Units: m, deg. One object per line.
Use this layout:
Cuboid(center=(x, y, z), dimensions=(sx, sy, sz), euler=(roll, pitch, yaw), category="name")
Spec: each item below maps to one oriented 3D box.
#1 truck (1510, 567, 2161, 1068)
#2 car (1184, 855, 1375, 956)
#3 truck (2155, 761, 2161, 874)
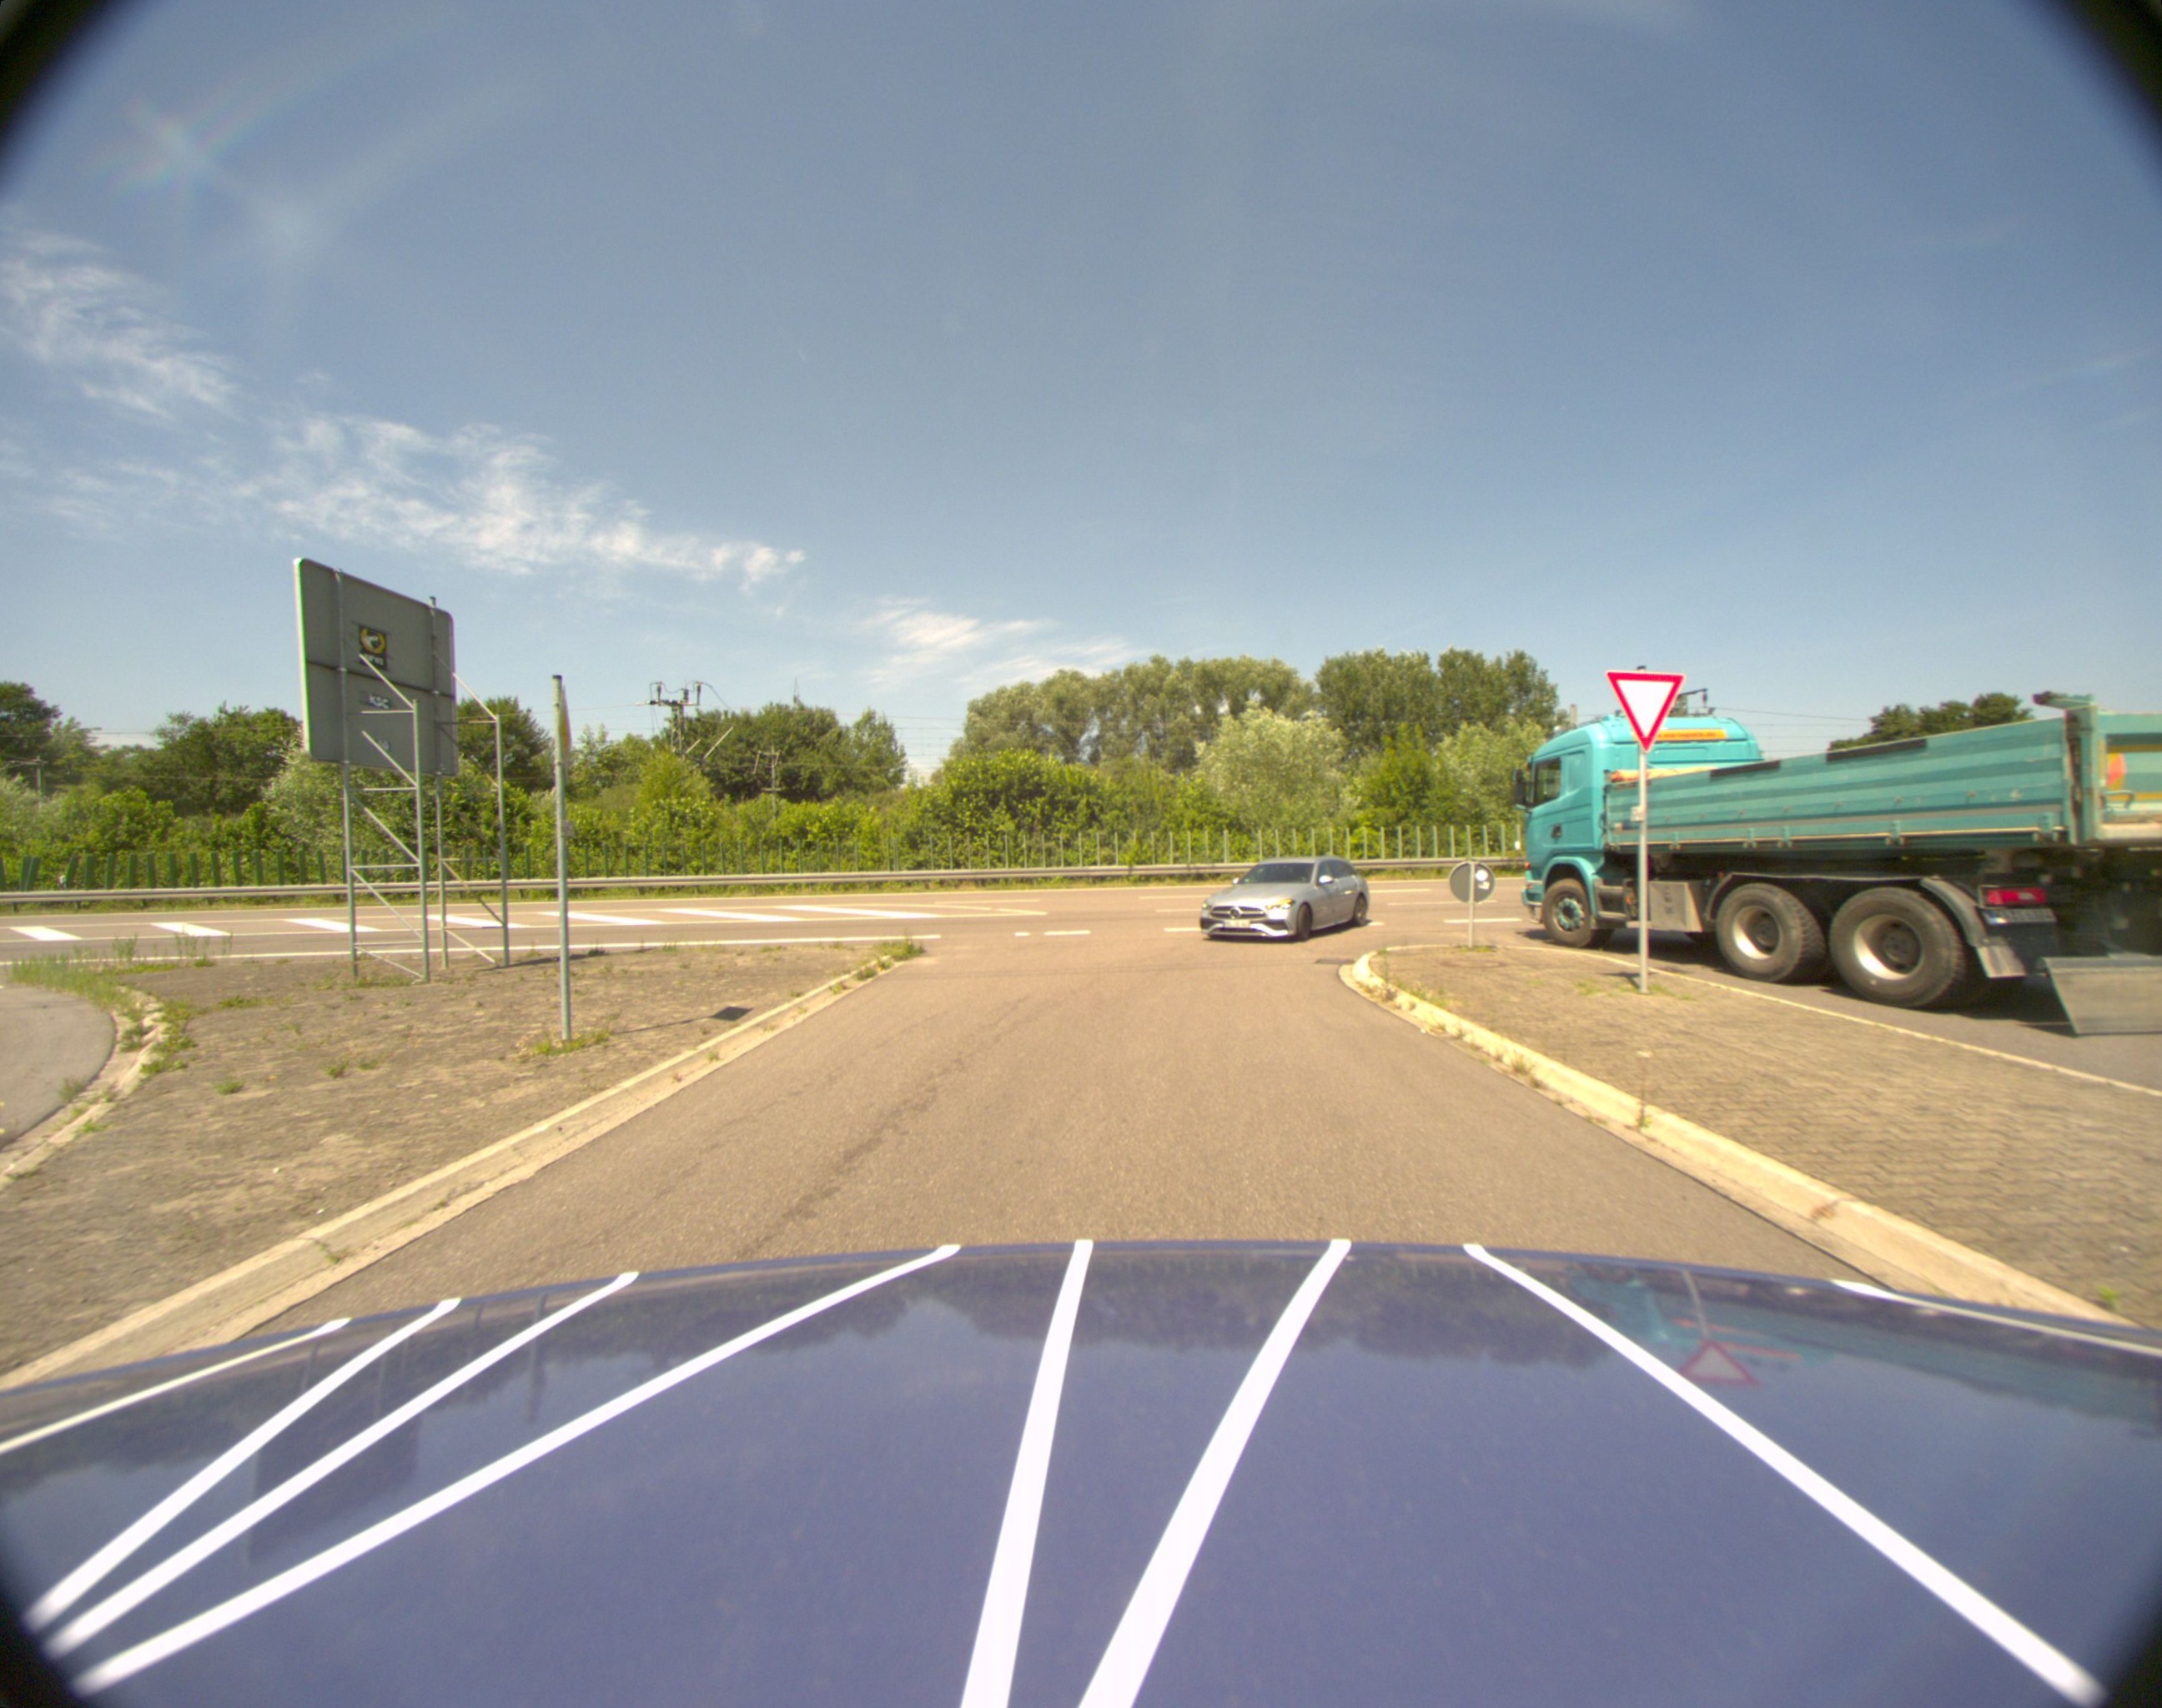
Cuboid(center=(8.484, -0.259, 9.031), dimensions=(2.608, 3.451, 7.610), euler=(-1, 0, 2), category="truck")
Cuboid(center=(3.874, 0.825, 14.345), dimensions=(1.820, 1.478, 4.156), euler=(0, 2, 41), category="car")
Cuboid(center=(38.900, -1.399, 23.023), dimensions=(9.551, 3.558, 2.724), euler=(-3, 1, -4), category="truck")
